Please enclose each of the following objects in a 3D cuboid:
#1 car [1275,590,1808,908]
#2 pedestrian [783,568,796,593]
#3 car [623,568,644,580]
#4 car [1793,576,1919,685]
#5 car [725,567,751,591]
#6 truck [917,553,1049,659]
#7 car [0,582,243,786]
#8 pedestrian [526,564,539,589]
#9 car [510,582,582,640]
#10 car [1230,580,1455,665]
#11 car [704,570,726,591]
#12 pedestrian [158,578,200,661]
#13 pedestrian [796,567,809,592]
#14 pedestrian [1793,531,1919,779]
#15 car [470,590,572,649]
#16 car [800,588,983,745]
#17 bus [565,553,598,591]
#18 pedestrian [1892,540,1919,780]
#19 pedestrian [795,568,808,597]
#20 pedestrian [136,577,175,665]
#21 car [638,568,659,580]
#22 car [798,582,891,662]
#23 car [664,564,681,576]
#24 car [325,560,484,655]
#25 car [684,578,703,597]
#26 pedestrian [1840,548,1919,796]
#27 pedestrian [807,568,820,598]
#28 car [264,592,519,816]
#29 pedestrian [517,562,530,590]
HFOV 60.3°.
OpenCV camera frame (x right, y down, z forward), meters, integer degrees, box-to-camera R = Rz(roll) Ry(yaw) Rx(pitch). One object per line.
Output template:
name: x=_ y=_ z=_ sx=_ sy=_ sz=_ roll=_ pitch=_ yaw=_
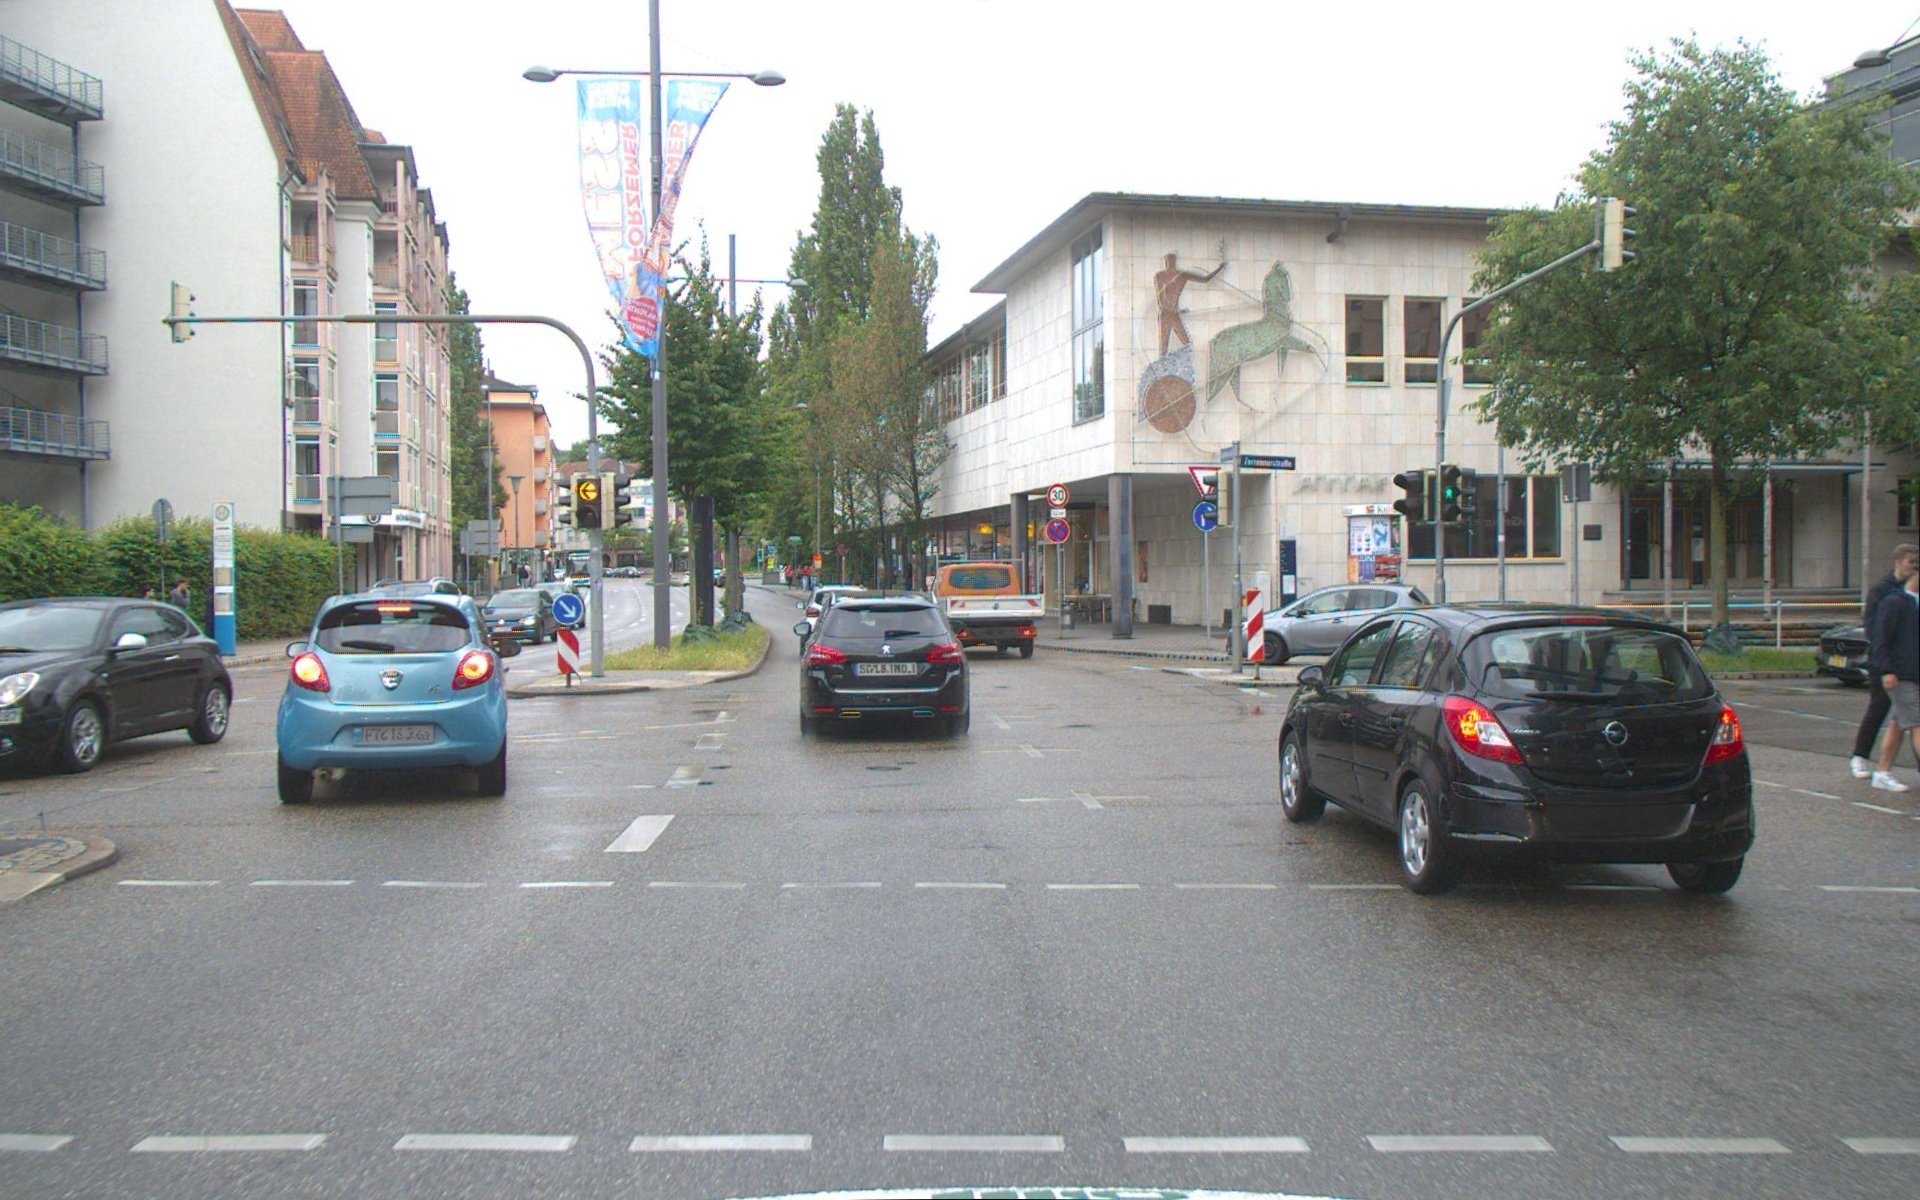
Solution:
car: x=3.134 y=0.699 z=9.746 sx=1.674 sy=1.482 sz=3.740 roll=0 pitch=1 yaw=-3
pedestrian: x=-11.368 y=-1.306 z=110.311 sx=0.704 sy=1.648 sz=0.767 roll=-2 pitch=1 yaw=-12
car: x=-46.896 y=-3.762 z=237.331 sx=1.632 sy=1.592 sz=3.553 roll=3 pitch=-2 yaw=-36
car: x=14.375 y=0.376 z=23.710 sx=4.185 sy=1.444 sz=1.782 roll=-1 pitch=1 yaw=-13
car: x=-16.756 y=-1.552 z=124.871 sx=1.616 sy=1.592 sz=3.589 roll=2 pitch=-2 yaw=-12
truck: x=0.407 y=0.114 z=35.100 sx=2.082 sy=2.060 sz=4.707 roll=-1 pitch=0 yaw=-8
car: x=-7.998 y=0.657 z=14.823 sx=1.590 sy=1.583 sz=3.659 roll=-1 pitch=1 yaw=-1
pedestrian: x=-30.292 y=-1.663 z=117.173 sx=0.782 sy=1.825 sz=0.810 roll=0 pitch=0 yaw=-10
car: x=-13.823 y=0.338 z=55.430 sx=1.793 sy=1.766 sz=4.251 roll=-3 pitch=1 yaw=-8
car: x=7.172 y=0.392 z=30.900 sx=3.904 sy=1.502 sz=2.001 roll=0 pitch=0 yaw=19
car: x=-20.935 y=-1.657 z=141.052 sx=1.616 sy=1.592 sz=3.589 roll=2 pitch=-2 yaw=-12
pedestrian: x=-16.995 y=0.430 z=35.993 sx=0.629 sy=1.795 sz=0.592 roll=-1 pitch=-2 yaw=-4
pedestrian: x=-10.510 y=-1.379 z=110.439 sx=0.713 sy=1.617 sz=0.605 roll=-2 pitch=1 yaw=-12
pedestrian: x=7.341 y=0.433 z=13.393 sx=0.743 sy=1.935 sz=0.790 roll=-1 pitch=-1 yaw=0
car: x=-11.827 y=0.511 z=44.760 sx=1.722 sy=1.445 sz=4.095 roll=-3 pitch=0 yaw=-2
car: x=-0.738 y=0.649 z=18.045 sx=1.759 sy=1.509 sz=3.998 roll=1 pitch=0 yaw=-2
bus: x=-33.971 y=-2.560 z=148.190 sx=2.697 sy=3.128 sz=12.196 roll=-1 pitch=2 yaw=-14
pedestrian: x=8.070 y=0.476 z=13.309 sx=0.717 sy=1.929 sz=0.676 roll=-1 pitch=-1 yaw=-1
pedestrian: x=-9.974 y=-1.091 z=104.321 sx=0.642 sy=1.798 sz=0.920 roll=-2 pitch=1 yaw=-12
pedestrian: x=-16.714 y=0.443 z=34.367 sx=0.516 sy=1.795 sz=0.630 roll=-1 pitch=-2 yaw=-4
car: x=-45.481 y=-3.770 z=241.347 sx=1.632 sy=1.592 sz=3.553 roll=3 pitch=-2 yaw=-36
car: x=-2.422 y=0.400 z=33.979 sx=1.760 sy=1.509 sz=3.995 roll=-1 pitch=1 yaw=-6
car: x=-40.203 y=-4.161 z=231.015 sx=1.960 sy=1.713 sz=3.985 roll=-1 pitch=1 yaw=-15
car: x=-11.167 y=0.137 z=33.558 sx=1.790 sy=1.766 sz=4.310 roll=-1 pitch=0 yaw=-1
car: x=-25.598 y=-1.196 z=158.977 sx=1.616 sy=1.592 sz=3.589 roll=2 pitch=-2 yaw=-12
pedestrian: x=7.279 y=0.520 z=12.519 sx=0.733 sy=1.810 sz=0.887 roll=0 pitch=0 yaw=-3
pedestrian: x=-9.229 y=-1.077 z=104.405 sx=0.686 sy=1.833 sz=0.605 roll=-2 pitch=1 yaw=-12
car: x=-4.424 y=0.699 z=13.298 sx=1.668 sy=1.500 sz=3.675 roll=-1 pitch=1 yaw=-15
pedestrian: x=-28.161 y=-1.541 z=106.773 sx=0.685 sy=1.825 sz=0.956 roll=0 pitch=0 yaw=-9
